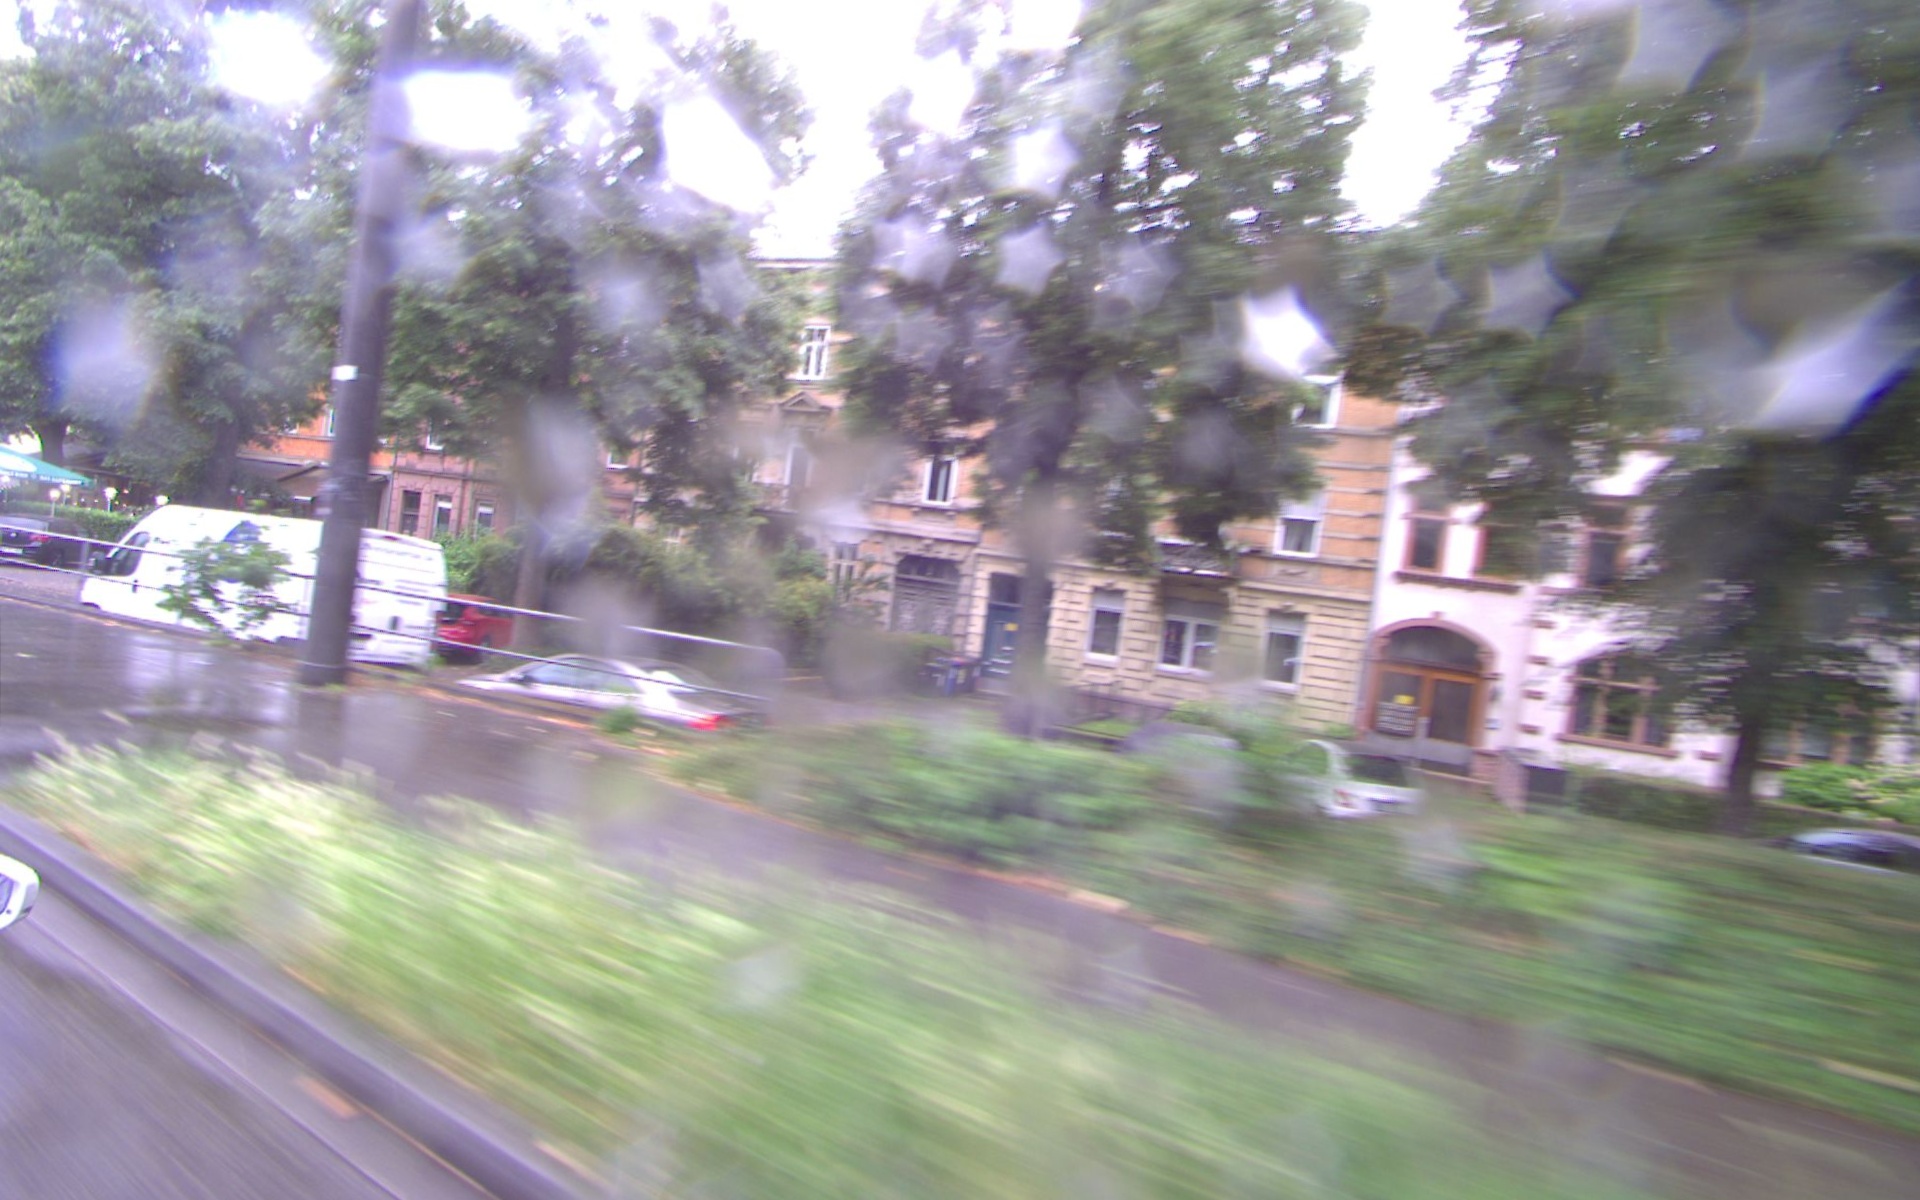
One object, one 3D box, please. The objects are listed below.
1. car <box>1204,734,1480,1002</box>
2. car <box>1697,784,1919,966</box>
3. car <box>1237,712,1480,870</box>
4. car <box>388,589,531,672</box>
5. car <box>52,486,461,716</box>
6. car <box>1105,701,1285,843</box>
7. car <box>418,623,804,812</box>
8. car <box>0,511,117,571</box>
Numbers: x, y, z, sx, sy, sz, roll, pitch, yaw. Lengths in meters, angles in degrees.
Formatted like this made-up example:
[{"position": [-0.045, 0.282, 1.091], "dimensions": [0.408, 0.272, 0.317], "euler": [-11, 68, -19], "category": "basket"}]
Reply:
[{"position": [3.737, 2.561, 10.543], "dimensions": [1.671, 1.623, 3.652], "euler": [8, 1, 7], "category": "car"}, {"position": [12.843, 3.853, 14.015], "dimensions": [1.884, 1.623, 3.796], "euler": [7, 1, -8], "category": "car"}, {"position": [6.248, 2.963, 16.319], "dimensions": [1.884, 1.579, 3.796], "euler": [7, 1, -8], "category": "car"}, {"position": [-11.166, 0.622, 22.715], "dimensions": [1.680, 1.455, 3.665], "euler": [7, 1, -8], "category": "car"}, {"position": [-10.759, -0.057, 15.362], "dimensions": [5.671, 2.565, 2.185], "euler": [8, 1, 21], "category": "car"}, {"position": [3.729, 2.728, 16.744], "dimensions": [1.695, 1.402, 4.120], "euler": [7, 1, -3], "category": "car"}, {"position": [-4.363, 1.343, 12.638], "dimensions": [4.272, 1.509, 1.828], "euler": [8, 1, 20], "category": "car"}, {"position": [-27.306, -1.769, 30.051], "dimensions": [1.864, 1.497, 3.981], "euler": [7, 1, -19], "category": "car"}]
